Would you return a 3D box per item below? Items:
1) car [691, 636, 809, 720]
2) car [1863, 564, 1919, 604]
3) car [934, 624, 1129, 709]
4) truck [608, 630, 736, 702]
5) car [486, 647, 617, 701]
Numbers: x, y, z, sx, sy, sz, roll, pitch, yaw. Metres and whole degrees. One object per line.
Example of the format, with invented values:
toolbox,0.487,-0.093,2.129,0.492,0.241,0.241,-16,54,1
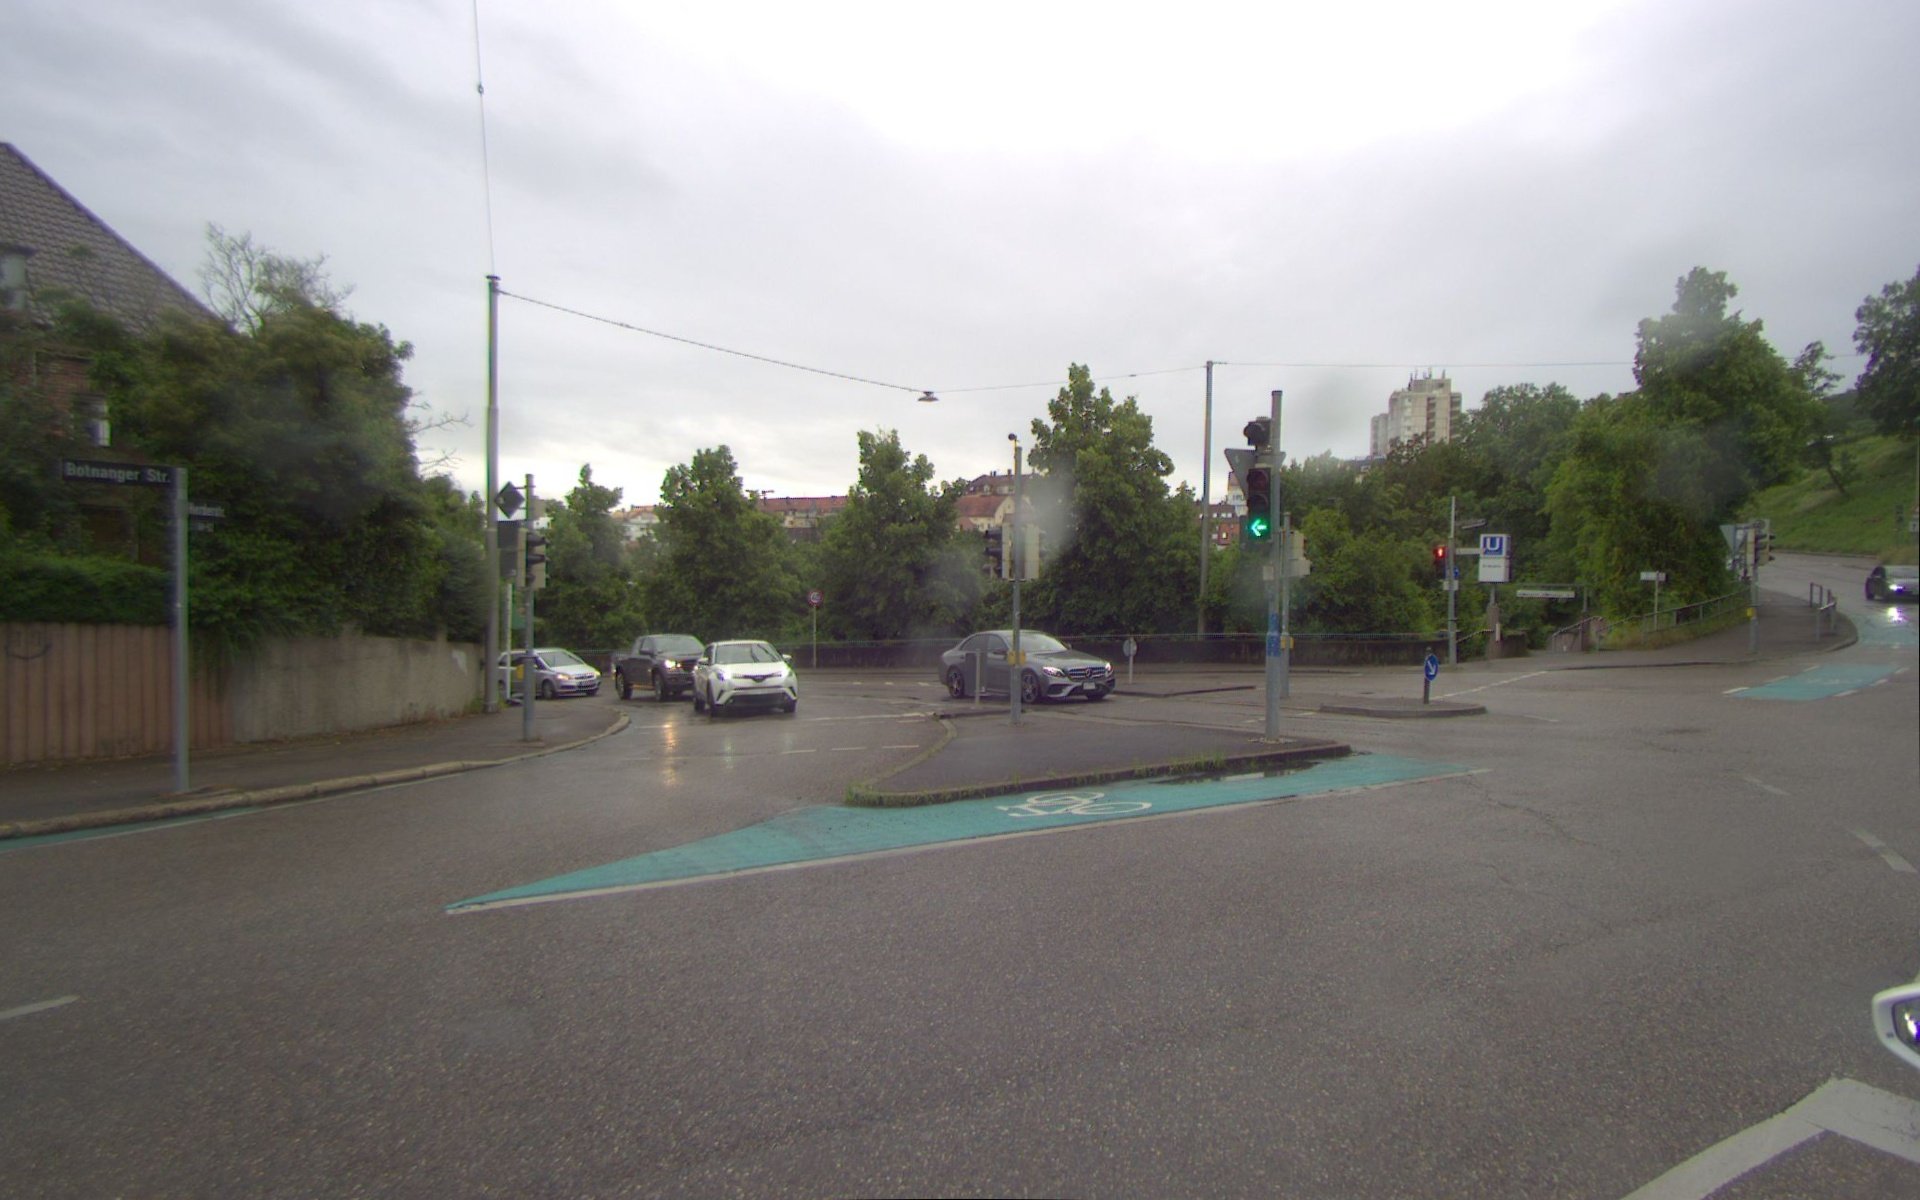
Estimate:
car,-4.603,1.636,21.608,1.810,1.527,3.866,-2,-2,-21
car,38.979,-0.710,41.510,1.931,1.532,4.388,1,3,36
car,1.390,1.357,21.390,1.957,1.527,4.454,-2,-1,-30
truck,-8.343,1.900,28.759,1.890,1.809,4.940,-2,-3,-36
car,-13.622,2.432,33.423,4.238,1.653,1.853,-2,-1,31
